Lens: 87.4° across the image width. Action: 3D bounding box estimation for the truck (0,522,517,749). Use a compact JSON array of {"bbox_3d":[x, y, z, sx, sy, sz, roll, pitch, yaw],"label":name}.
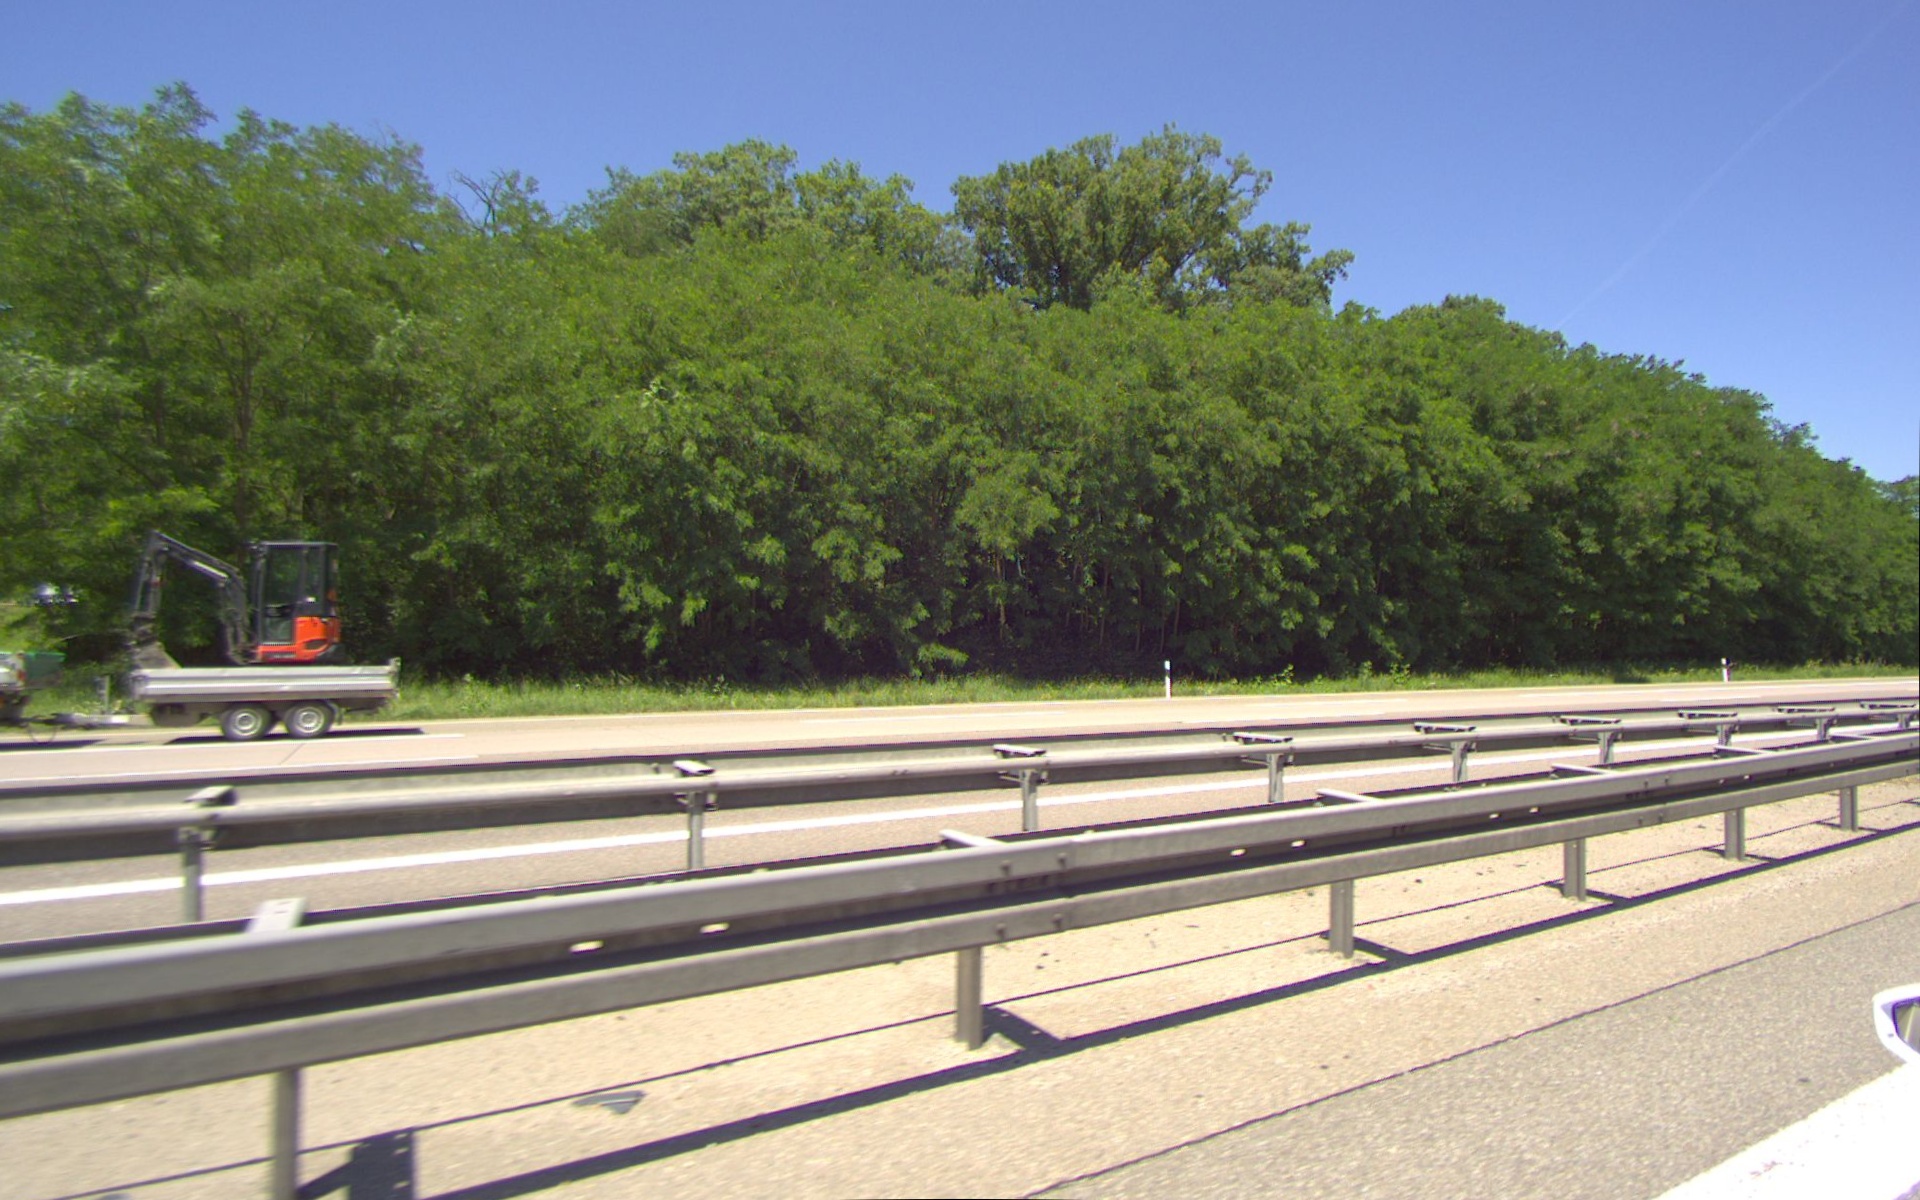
[{"bbox_3d":[-13.529,0.515,14.648,12.705,3.030,2.740,2,-2,-31],"label":"truck"}]
